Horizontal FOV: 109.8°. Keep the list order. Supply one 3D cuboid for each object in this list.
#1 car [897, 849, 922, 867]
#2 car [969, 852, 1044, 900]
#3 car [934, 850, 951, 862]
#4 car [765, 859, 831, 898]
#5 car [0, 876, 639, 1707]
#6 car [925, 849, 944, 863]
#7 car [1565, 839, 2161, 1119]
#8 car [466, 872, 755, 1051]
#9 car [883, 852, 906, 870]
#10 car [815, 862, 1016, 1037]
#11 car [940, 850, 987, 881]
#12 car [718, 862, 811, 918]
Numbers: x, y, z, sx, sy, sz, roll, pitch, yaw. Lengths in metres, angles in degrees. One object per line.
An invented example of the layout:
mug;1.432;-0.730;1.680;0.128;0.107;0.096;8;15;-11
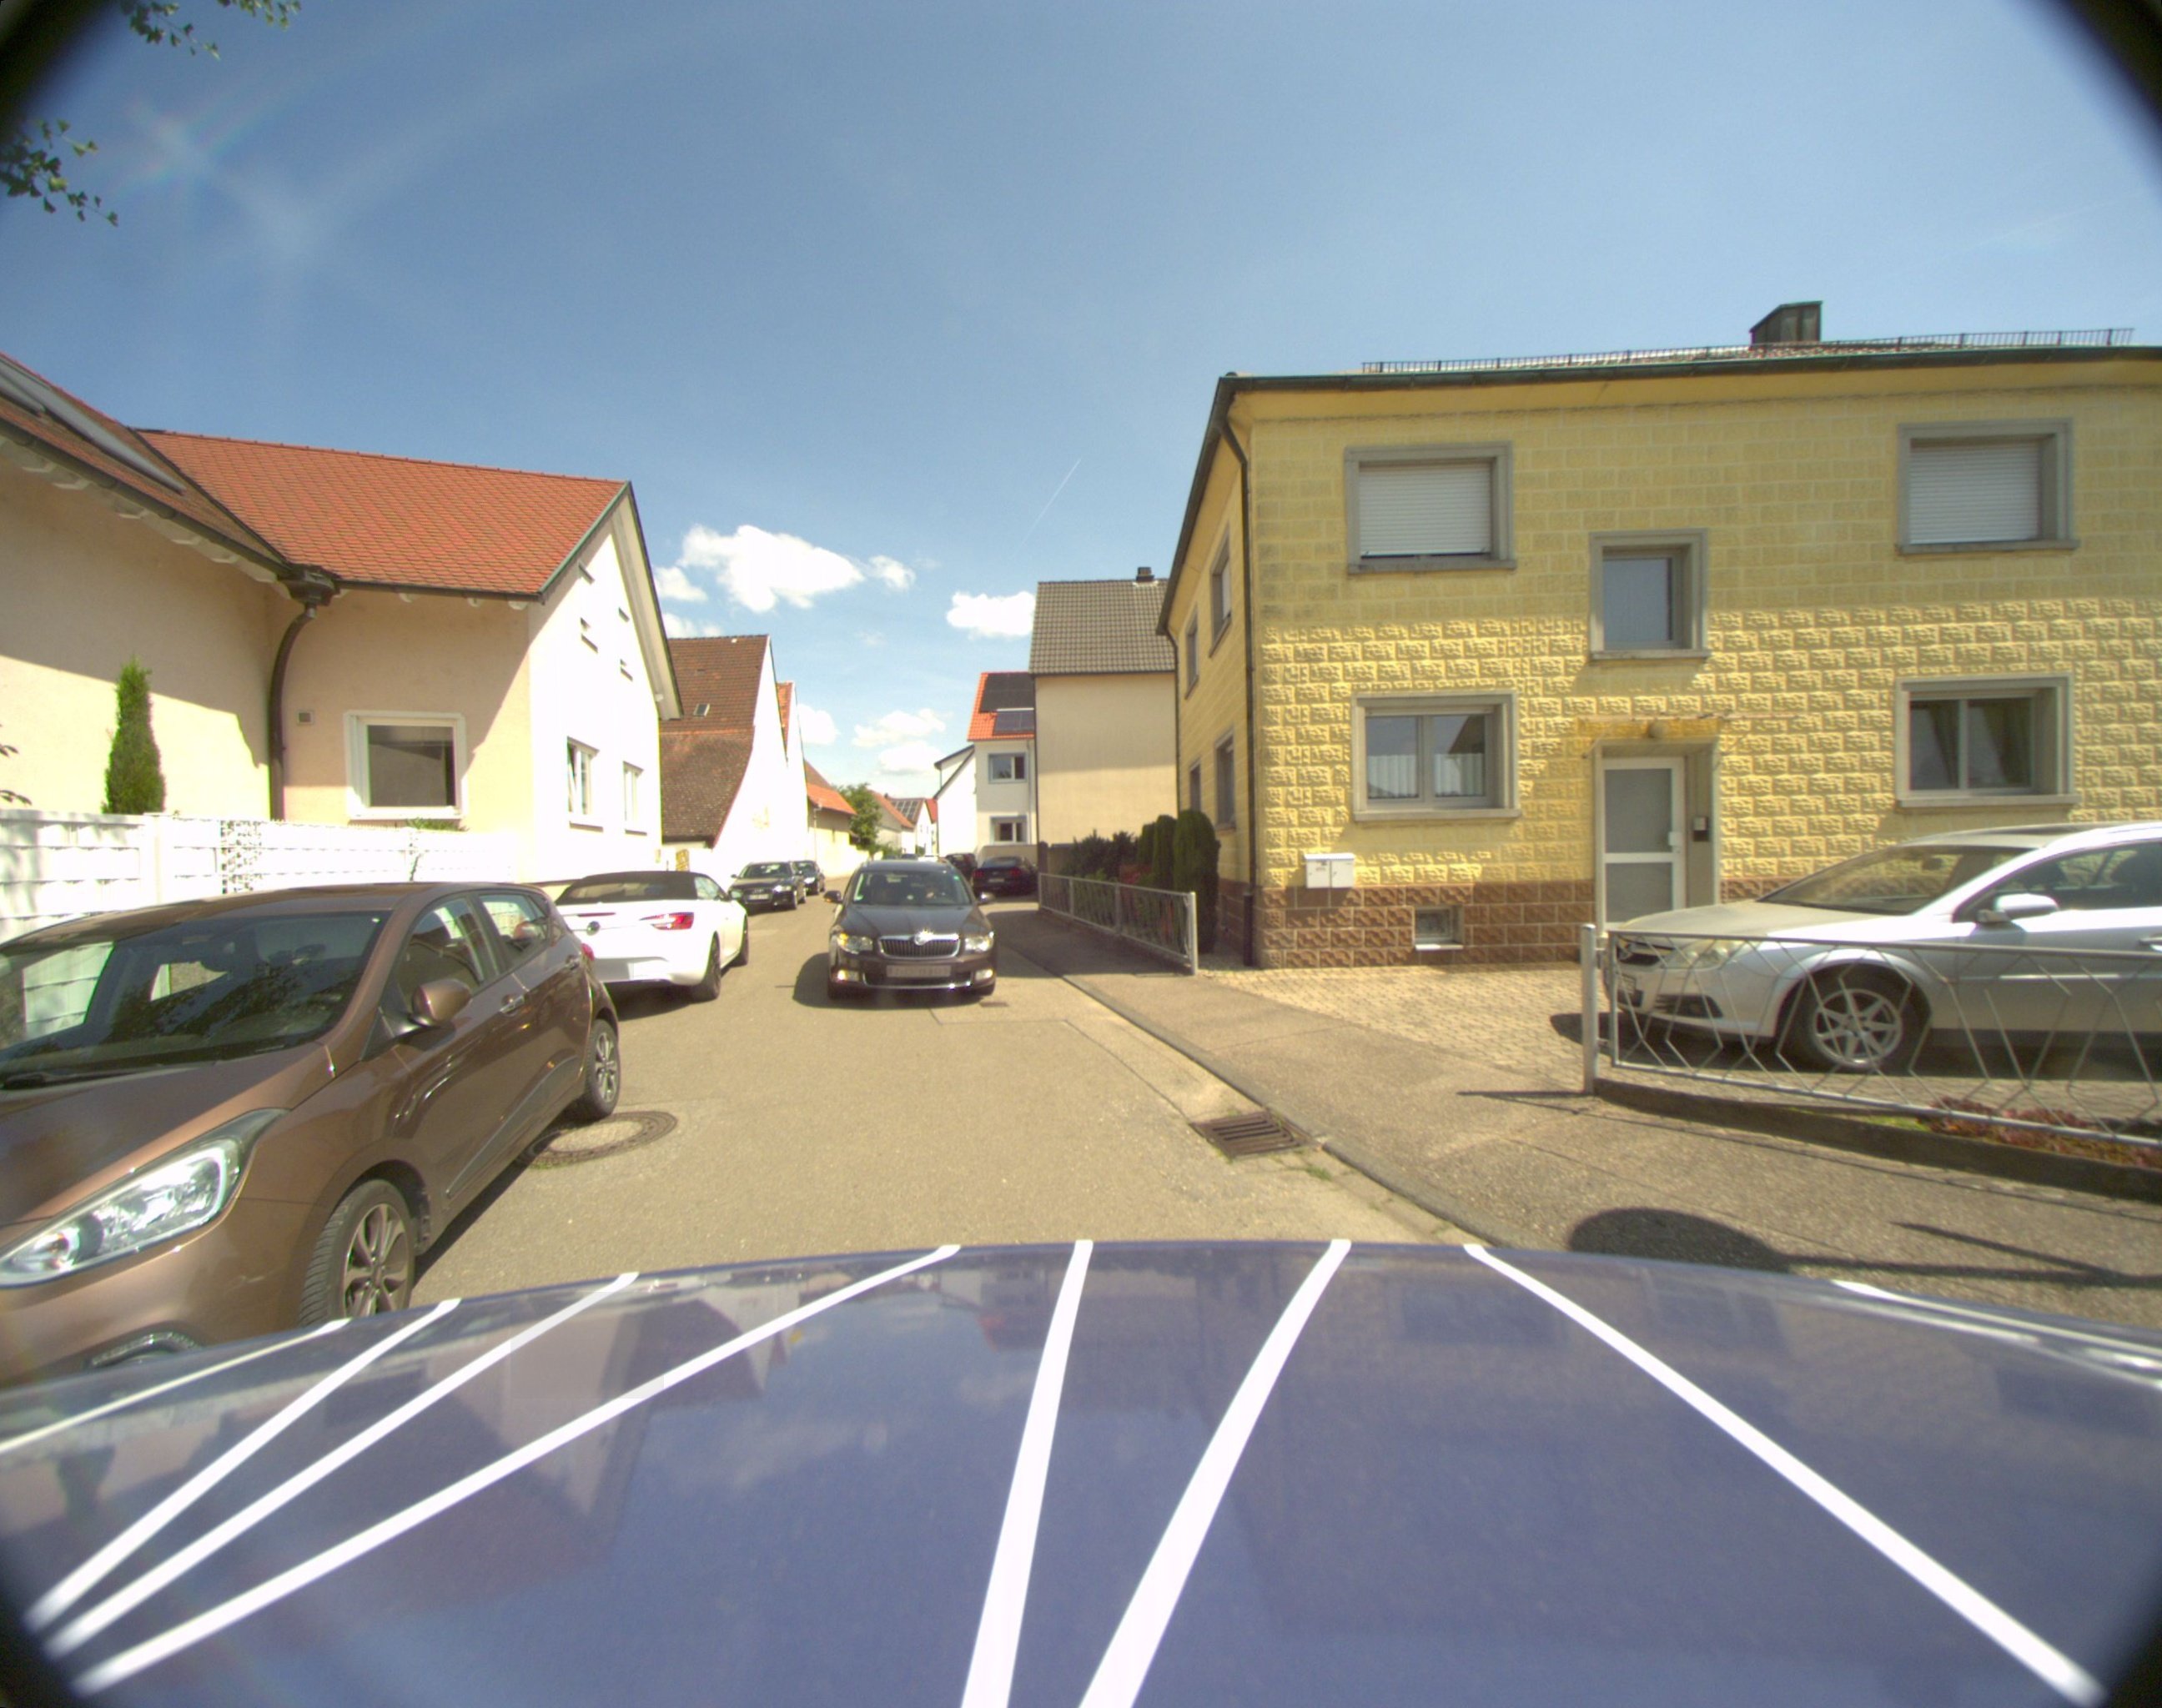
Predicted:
car;-17.400;0.407;77.332;1.785;1.600;3.997;-4;1;-4
car;-2.494;0.700;26.565;1.773;1.342;4.470;-3;1;4
car;-20.077;0.297;110.239;1.785;1.492;4.036;-4;1;-4
car;-11.397;0.937;30.861;1.902;1.357;4.408;-2;1;-13
car;-3.375;0.998;3.138;1.719;1.524;4.029;-5;2;-18
car;-18.894;0.243;97.940;1.785;1.492;4.036;-4;1;-4
car;6.020;0.679;4.972;4.465;1.477;1.793;-1;1;13
car;-5.373;1.040;9.463;1.903;1.420;4.729;-2;1;-18
car;-16.811;0.626;68.464;1.786;1.471;3.995;-1;1;-11
car;-2.219;0.894;9.240;1.788;1.526;4.702;1;-1;-18
car;-6.111;0.583;39.856;1.641;1.446;3.787;-3;0;2
car;-9.352;0.989;22.816;1.903;1.357;4.730;-2;1;-15
